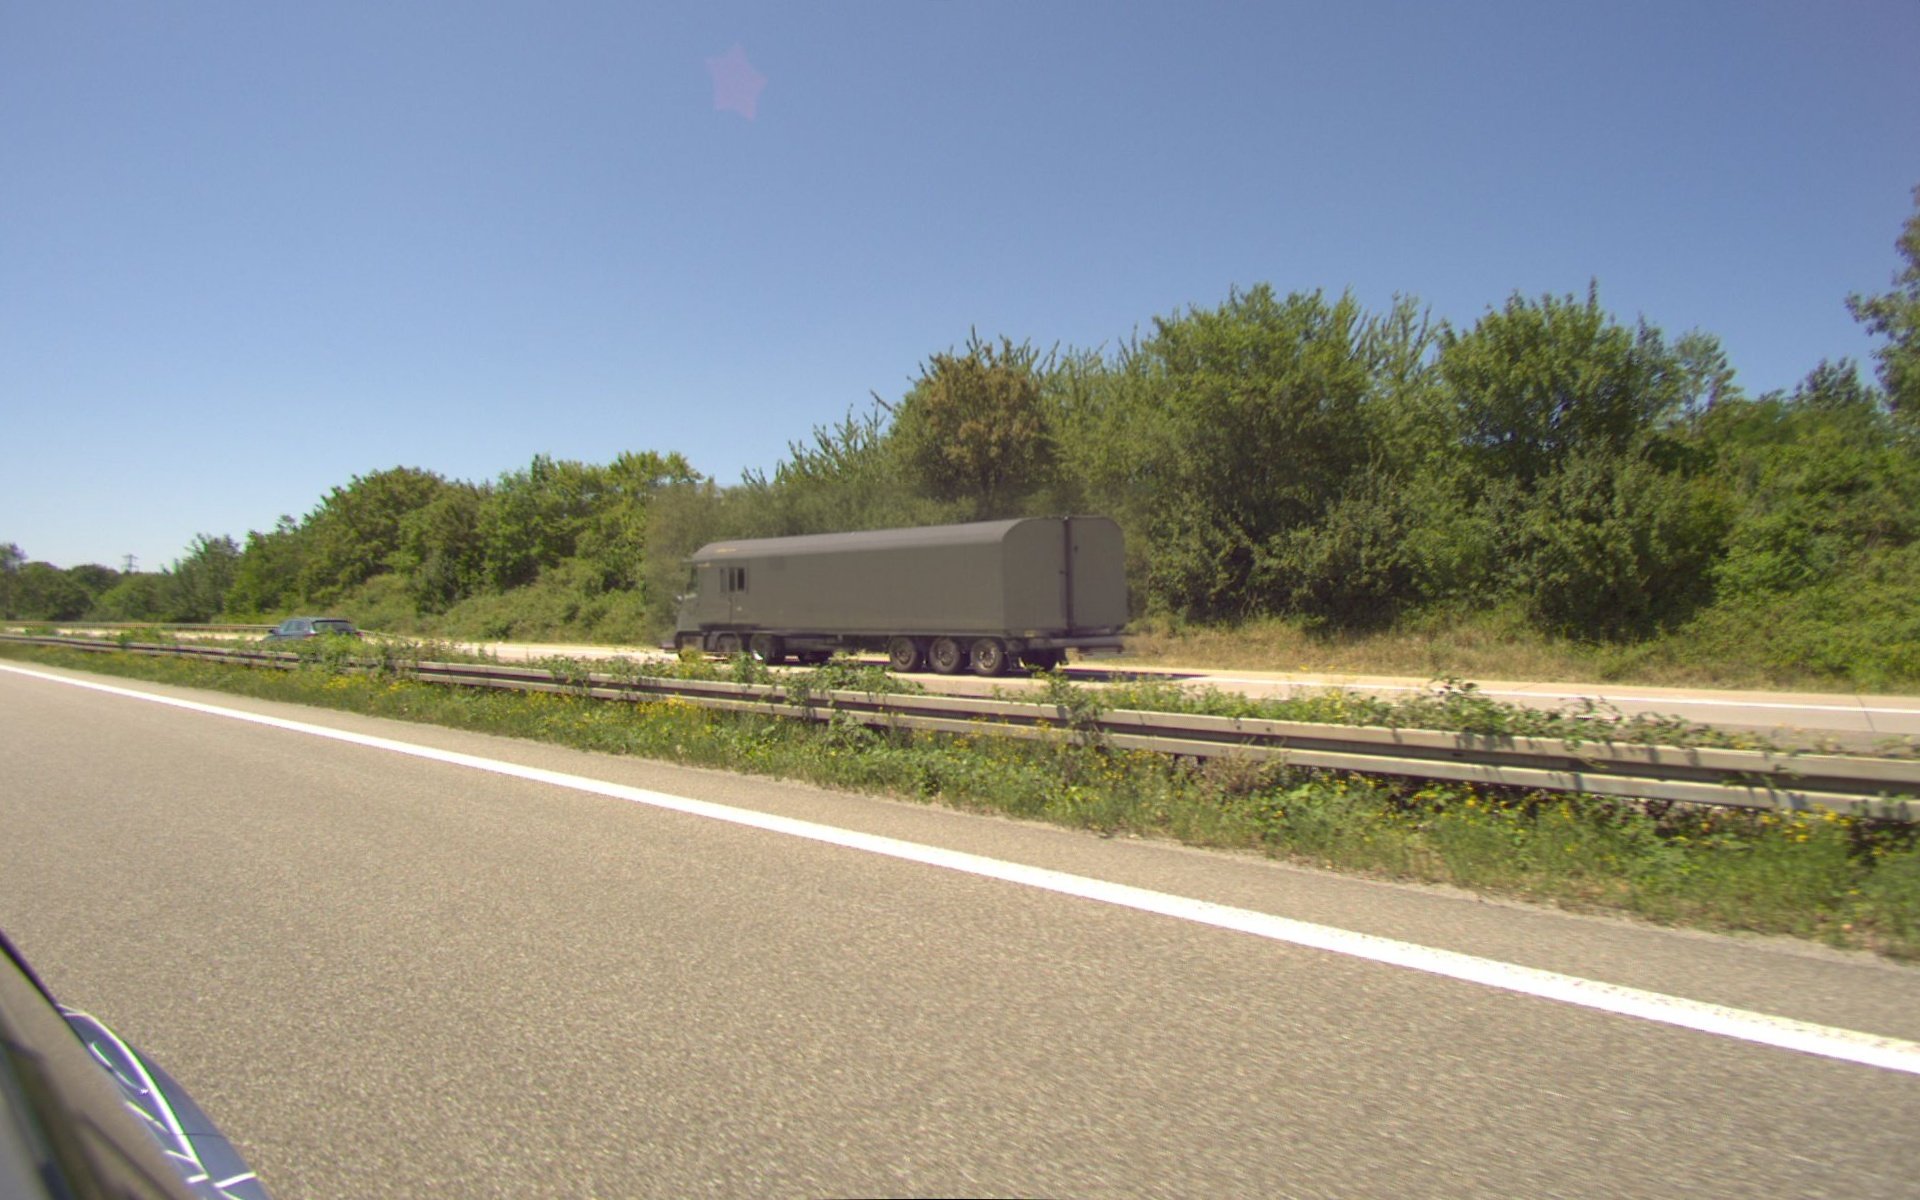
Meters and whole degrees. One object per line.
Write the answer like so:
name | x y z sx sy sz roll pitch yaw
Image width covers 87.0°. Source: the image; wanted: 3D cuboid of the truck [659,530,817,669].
truck | -6.975 0.041 31.626 4.440 3.996 2.674 -1 -2 40

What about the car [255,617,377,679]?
car | -21.247 1.524 33.298 4.952 1.875 1.973 -1 -2 40

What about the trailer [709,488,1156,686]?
trailer | -1.456 -0.162 26.941 13.547 4.216 2.678 -1 -2 40
